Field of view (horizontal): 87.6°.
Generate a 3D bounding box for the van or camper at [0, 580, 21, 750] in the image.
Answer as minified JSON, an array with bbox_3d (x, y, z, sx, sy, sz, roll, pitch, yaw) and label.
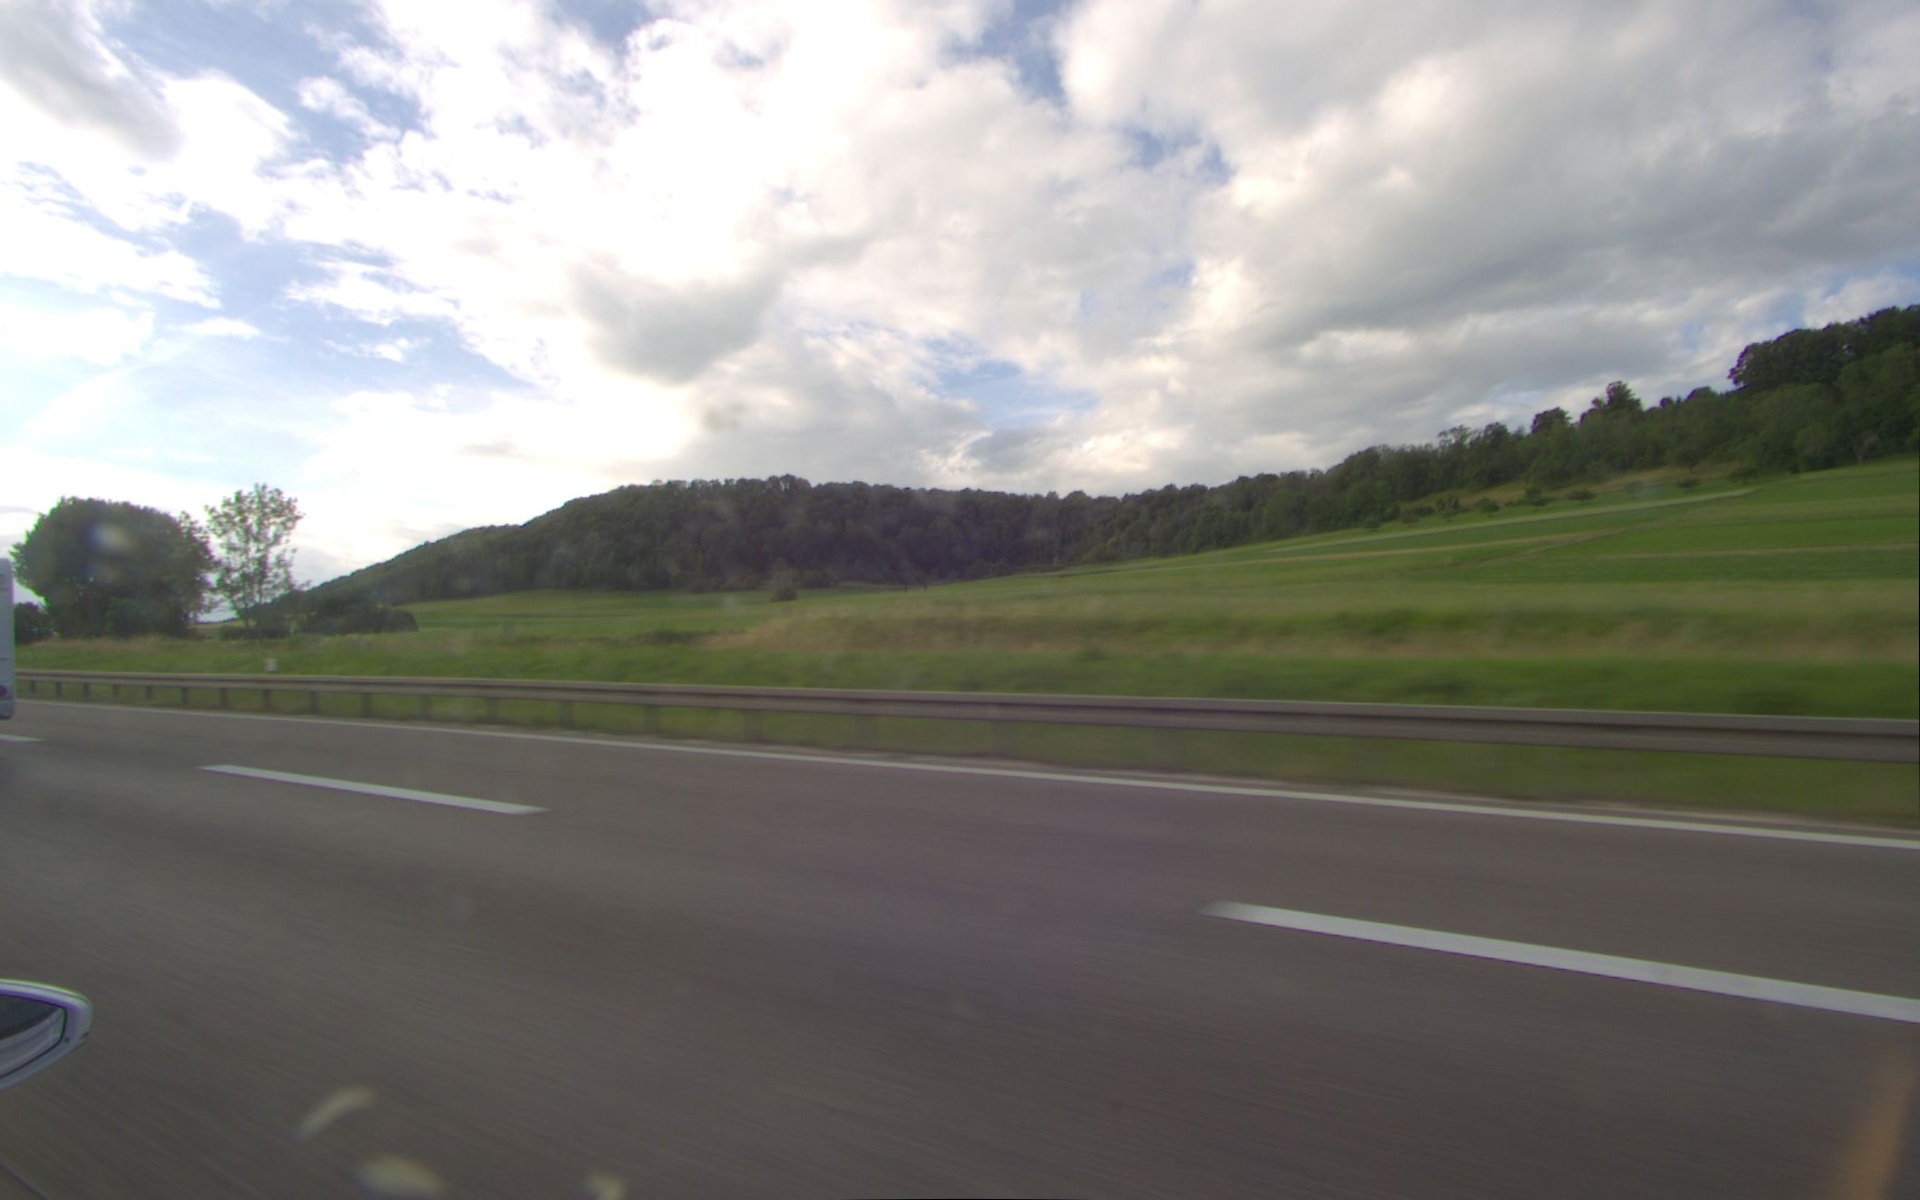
[{"bbox_3d":[-15.619,0.909,13.954,5.256,2.267,2.543,-2,-3,33],"label":"van or camper"}]
